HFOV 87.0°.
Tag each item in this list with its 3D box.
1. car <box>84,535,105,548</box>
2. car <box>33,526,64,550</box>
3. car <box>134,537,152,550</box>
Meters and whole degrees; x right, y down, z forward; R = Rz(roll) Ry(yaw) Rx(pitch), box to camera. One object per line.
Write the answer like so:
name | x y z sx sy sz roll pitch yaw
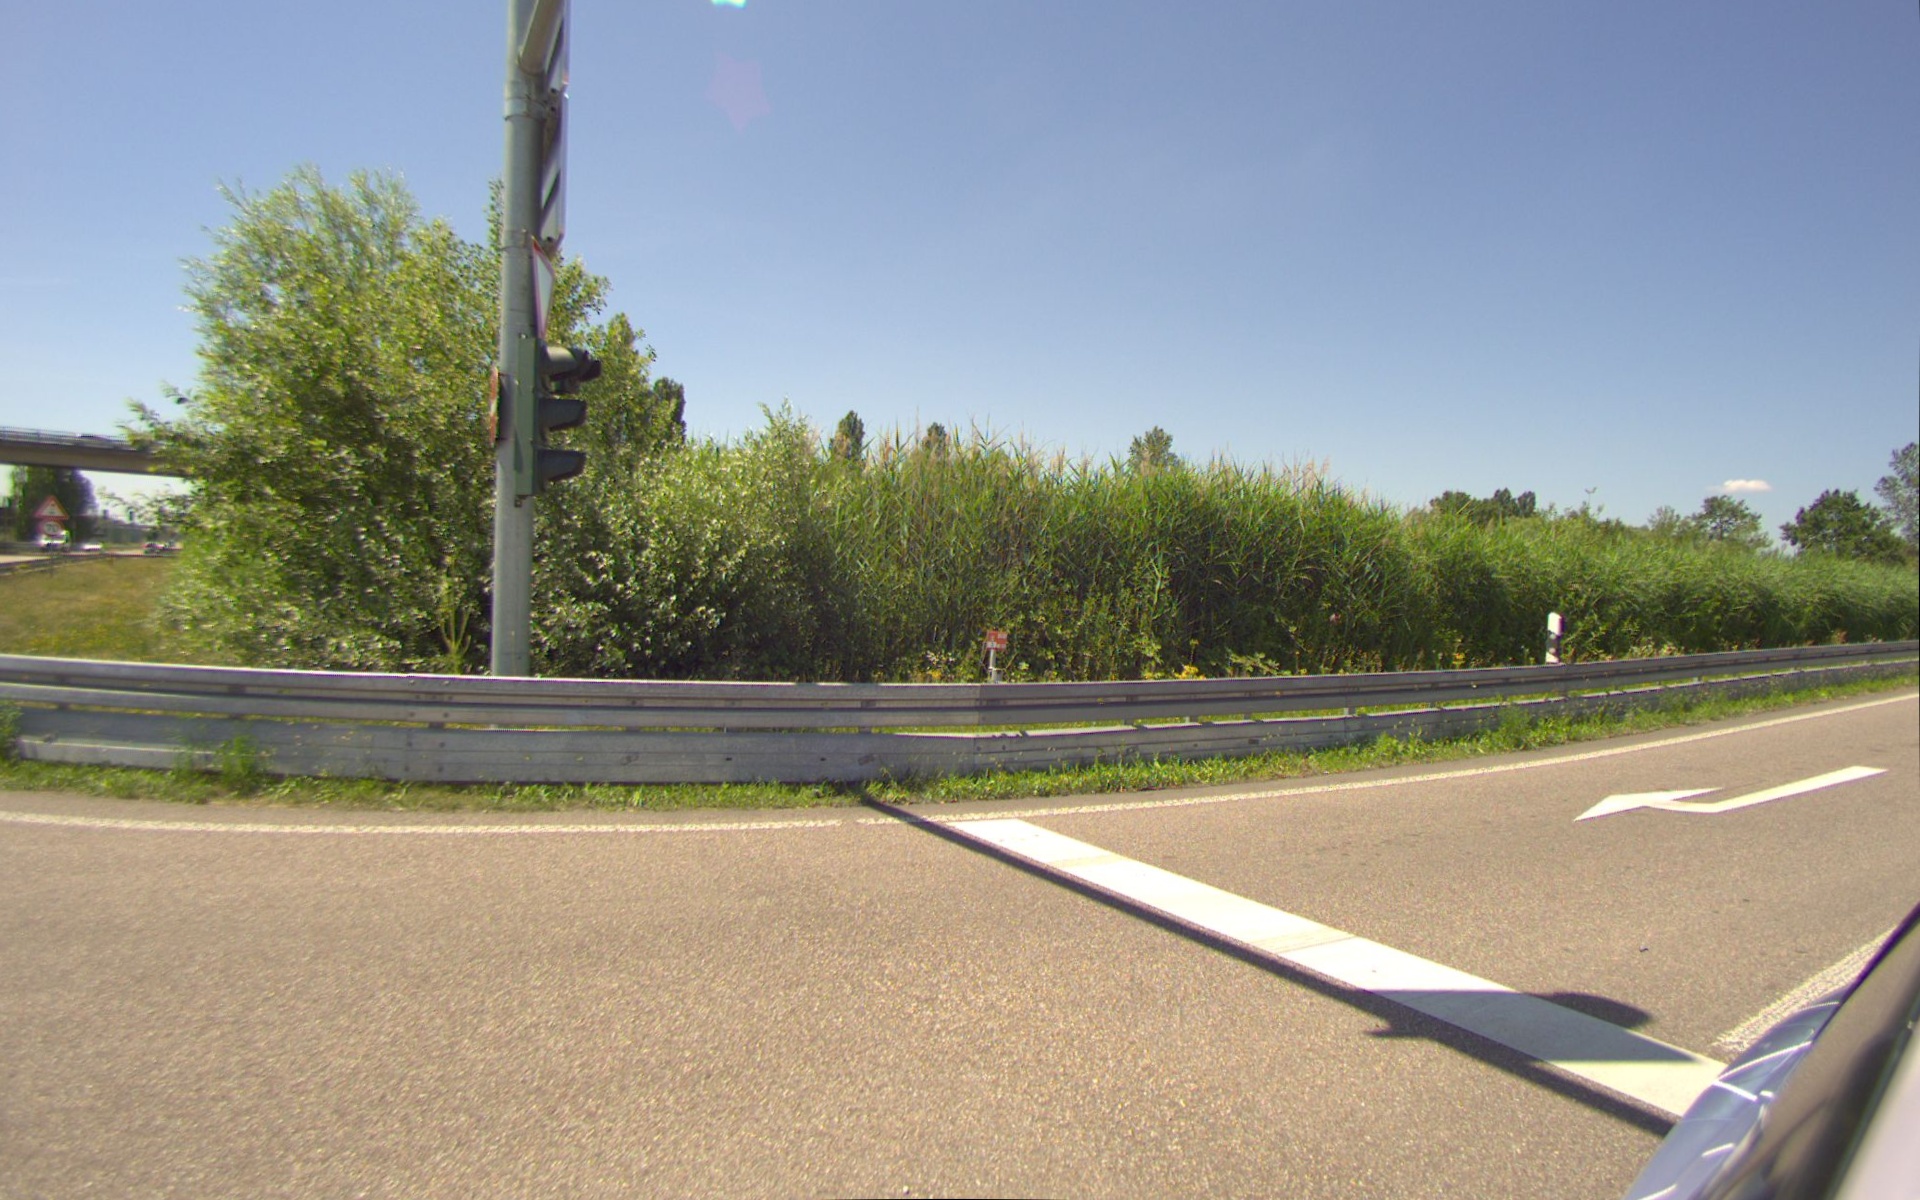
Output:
car | -116.965 -7.950 136.785 1.809 1.711 4.001 0 3 -36
car | -96.608 -6.605 107.299 1.877 2.471 4.649 -1 3 -35
car | -107.068 -7.416 132.686 1.560 1.581 3.688 -1 3 -35
